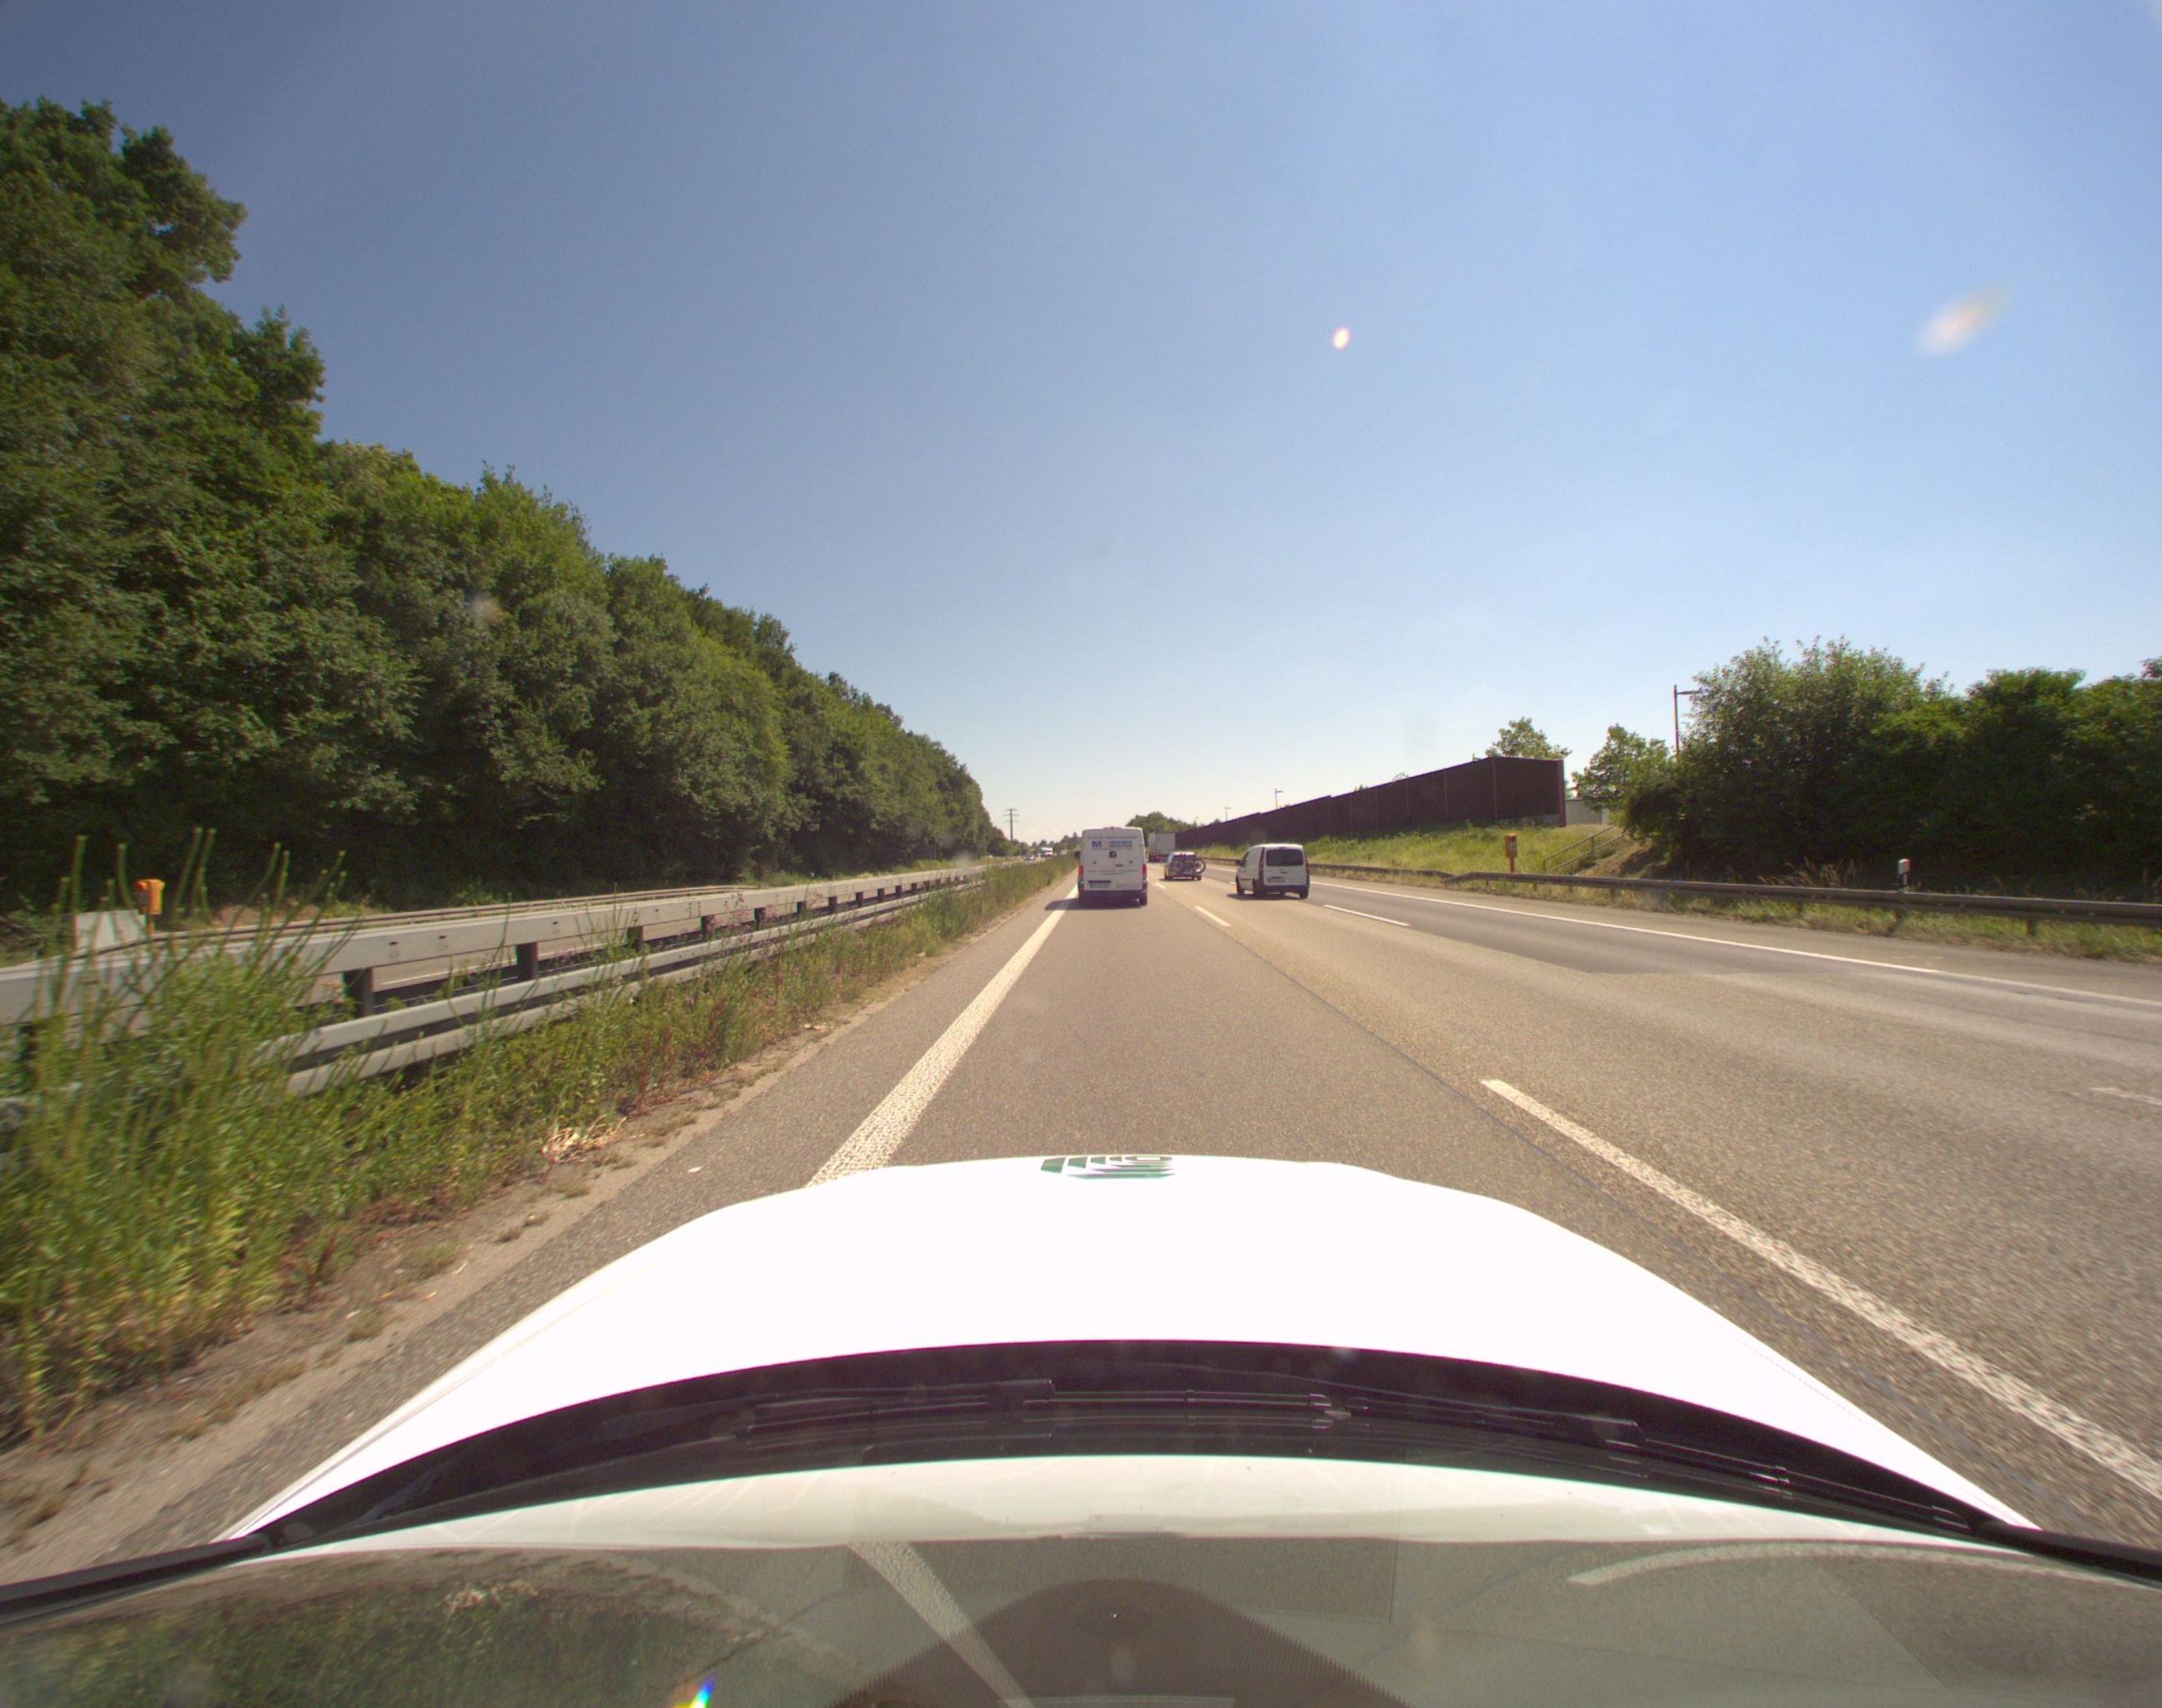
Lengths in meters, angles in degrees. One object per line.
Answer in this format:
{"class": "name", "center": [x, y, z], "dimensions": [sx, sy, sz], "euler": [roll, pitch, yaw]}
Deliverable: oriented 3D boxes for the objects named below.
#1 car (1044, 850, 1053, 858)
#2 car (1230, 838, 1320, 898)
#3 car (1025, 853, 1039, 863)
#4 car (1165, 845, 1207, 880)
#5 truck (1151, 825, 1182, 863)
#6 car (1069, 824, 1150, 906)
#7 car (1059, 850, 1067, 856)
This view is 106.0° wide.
{"class": "car", "center": [-9.354, -0.013, 236.829], "dimensions": [2.116, 2.339, 5.086], "euler": [-3, 0, 2]}
{"class": "car", "center": [6.527, 0.477, 27.848], "dimensions": [1.945, 1.838, 4.175], "euler": [-2, -1, -2]}
{"class": "car", "center": [-8.704, 0.723, 144.683], "dimensions": [1.986, 1.519, 4.723], "euler": [-3, 0, 2]}
{"class": "car", "center": [5.675, 0.474, 44.321], "dimensions": [1.967, 1.733, 4.092], "euler": [-2, -1, 3]}
{"class": "truck", "center": [11.681, -1.226, 112.757], "dimensions": [3.772, 5.000, 12.530], "euler": [0, -1, 4]}
{"class": "car", "center": [0.738, 0.323, 25.055], "dimensions": [2.176, 2.254, 5.360], "euler": [0, -1, -1]}
{"class": "car", "center": [-5.093, -0.155, 231.014], "dimensions": [1.986, 1.587, 4.427], "euler": [-3, 0, 2]}
